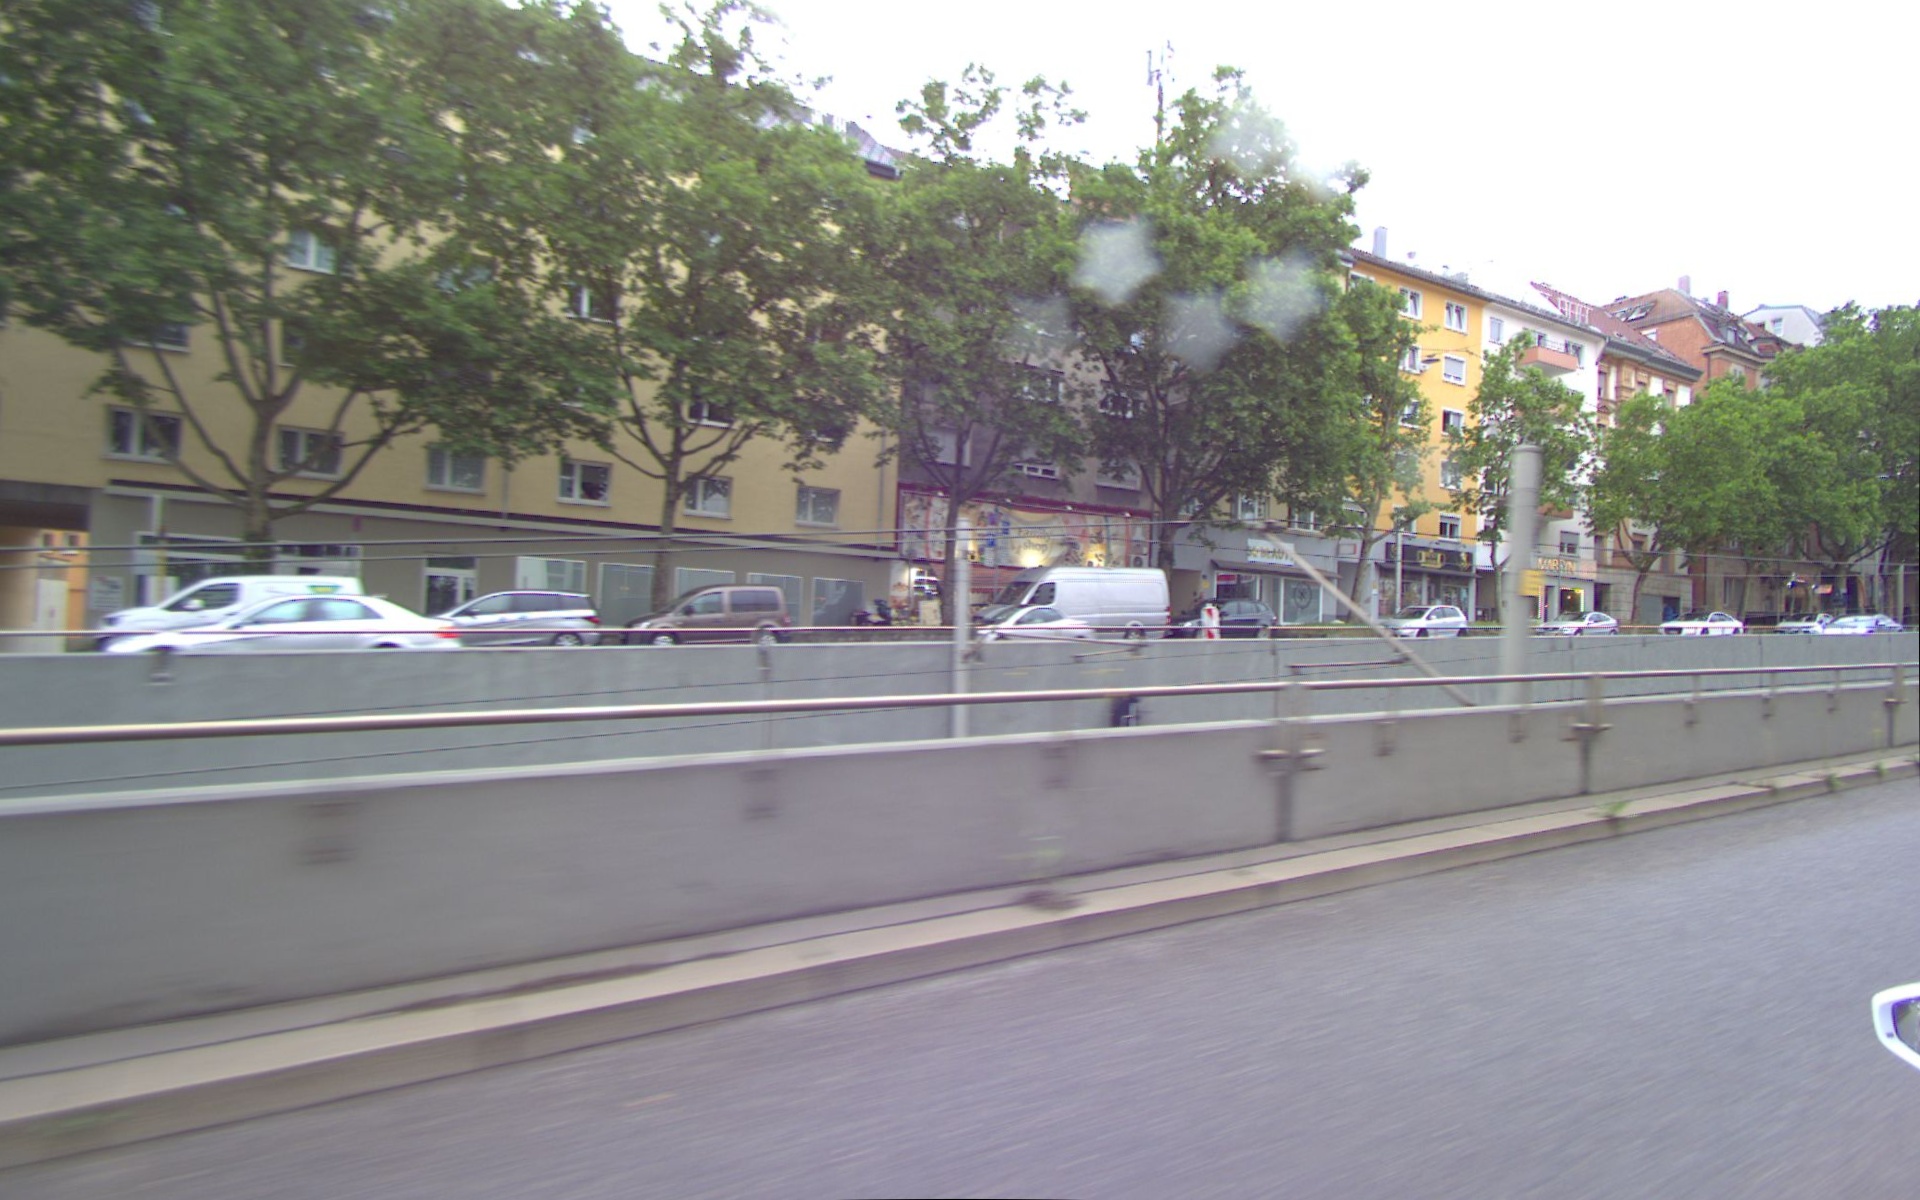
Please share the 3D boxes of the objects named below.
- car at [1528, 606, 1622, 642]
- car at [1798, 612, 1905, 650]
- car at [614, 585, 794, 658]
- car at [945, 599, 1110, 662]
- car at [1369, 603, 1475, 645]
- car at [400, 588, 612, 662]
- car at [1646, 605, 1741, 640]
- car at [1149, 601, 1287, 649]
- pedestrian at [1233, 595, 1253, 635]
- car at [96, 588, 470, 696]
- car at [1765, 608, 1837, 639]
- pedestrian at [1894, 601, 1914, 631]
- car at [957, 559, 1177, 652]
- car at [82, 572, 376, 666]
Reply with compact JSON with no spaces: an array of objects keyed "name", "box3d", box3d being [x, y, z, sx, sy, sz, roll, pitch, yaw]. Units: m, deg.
[{"name":"car","box3d":[27.498,1.062,44.875,4.157,1.530,1.786,1,0,-29]},{"name":"car","box3d":[38.931,1.318,43.829,4.823,1.530,2.017,1,0,-29]},{"name":"car","box3d":[-6.581,0.525,25.941,4.159,1.752,1.784,1,1,-32]},{"name":"car","box3d":[1.795,0.764,26.446,3.965,1.530,1.839,1,0,-28]},{"name":"car","box3d":[18.624,0.952,40.433,4.157,1.592,1.786,1,0,-29]},{"name":"car","box3d":[-10.725,0.553,23.798,4.421,1.604,1.867,1,0,-31]},{"name":"car","box3d":[36.595,1.124,50.080,5.137,1.622,1.918,1,0,-30]},{"name":"car","box3d":[8.859,0.838,34.401,4.616,1.530,1.786,1,0,-30]},{"name":"pedestrian","box3d":[12.829,0.699,45.477,0.612,1.772,0.522,1,2,-22]},{"name":"car","box3d":[-10.604,0.610,16.214,4.762,1.530,1.838,1,0,-29]},{"name":"car","box3d":[46.585,1.268,55.604,4.064,1.633,1.785,1,0,-31]},{"name":"pedestrian","box3d":[64.574,1.101,68.732,0.923,2.040,0.666,2,0,-28]},{"name":"car","box3d":[3.466,0.193,31.920,6.848,2.698,2.441,1,1,-30]},{"name":"car","box3d":[-15.237,0.383,21.295,4.849,1.788,1.865,1,1,-34]}]
